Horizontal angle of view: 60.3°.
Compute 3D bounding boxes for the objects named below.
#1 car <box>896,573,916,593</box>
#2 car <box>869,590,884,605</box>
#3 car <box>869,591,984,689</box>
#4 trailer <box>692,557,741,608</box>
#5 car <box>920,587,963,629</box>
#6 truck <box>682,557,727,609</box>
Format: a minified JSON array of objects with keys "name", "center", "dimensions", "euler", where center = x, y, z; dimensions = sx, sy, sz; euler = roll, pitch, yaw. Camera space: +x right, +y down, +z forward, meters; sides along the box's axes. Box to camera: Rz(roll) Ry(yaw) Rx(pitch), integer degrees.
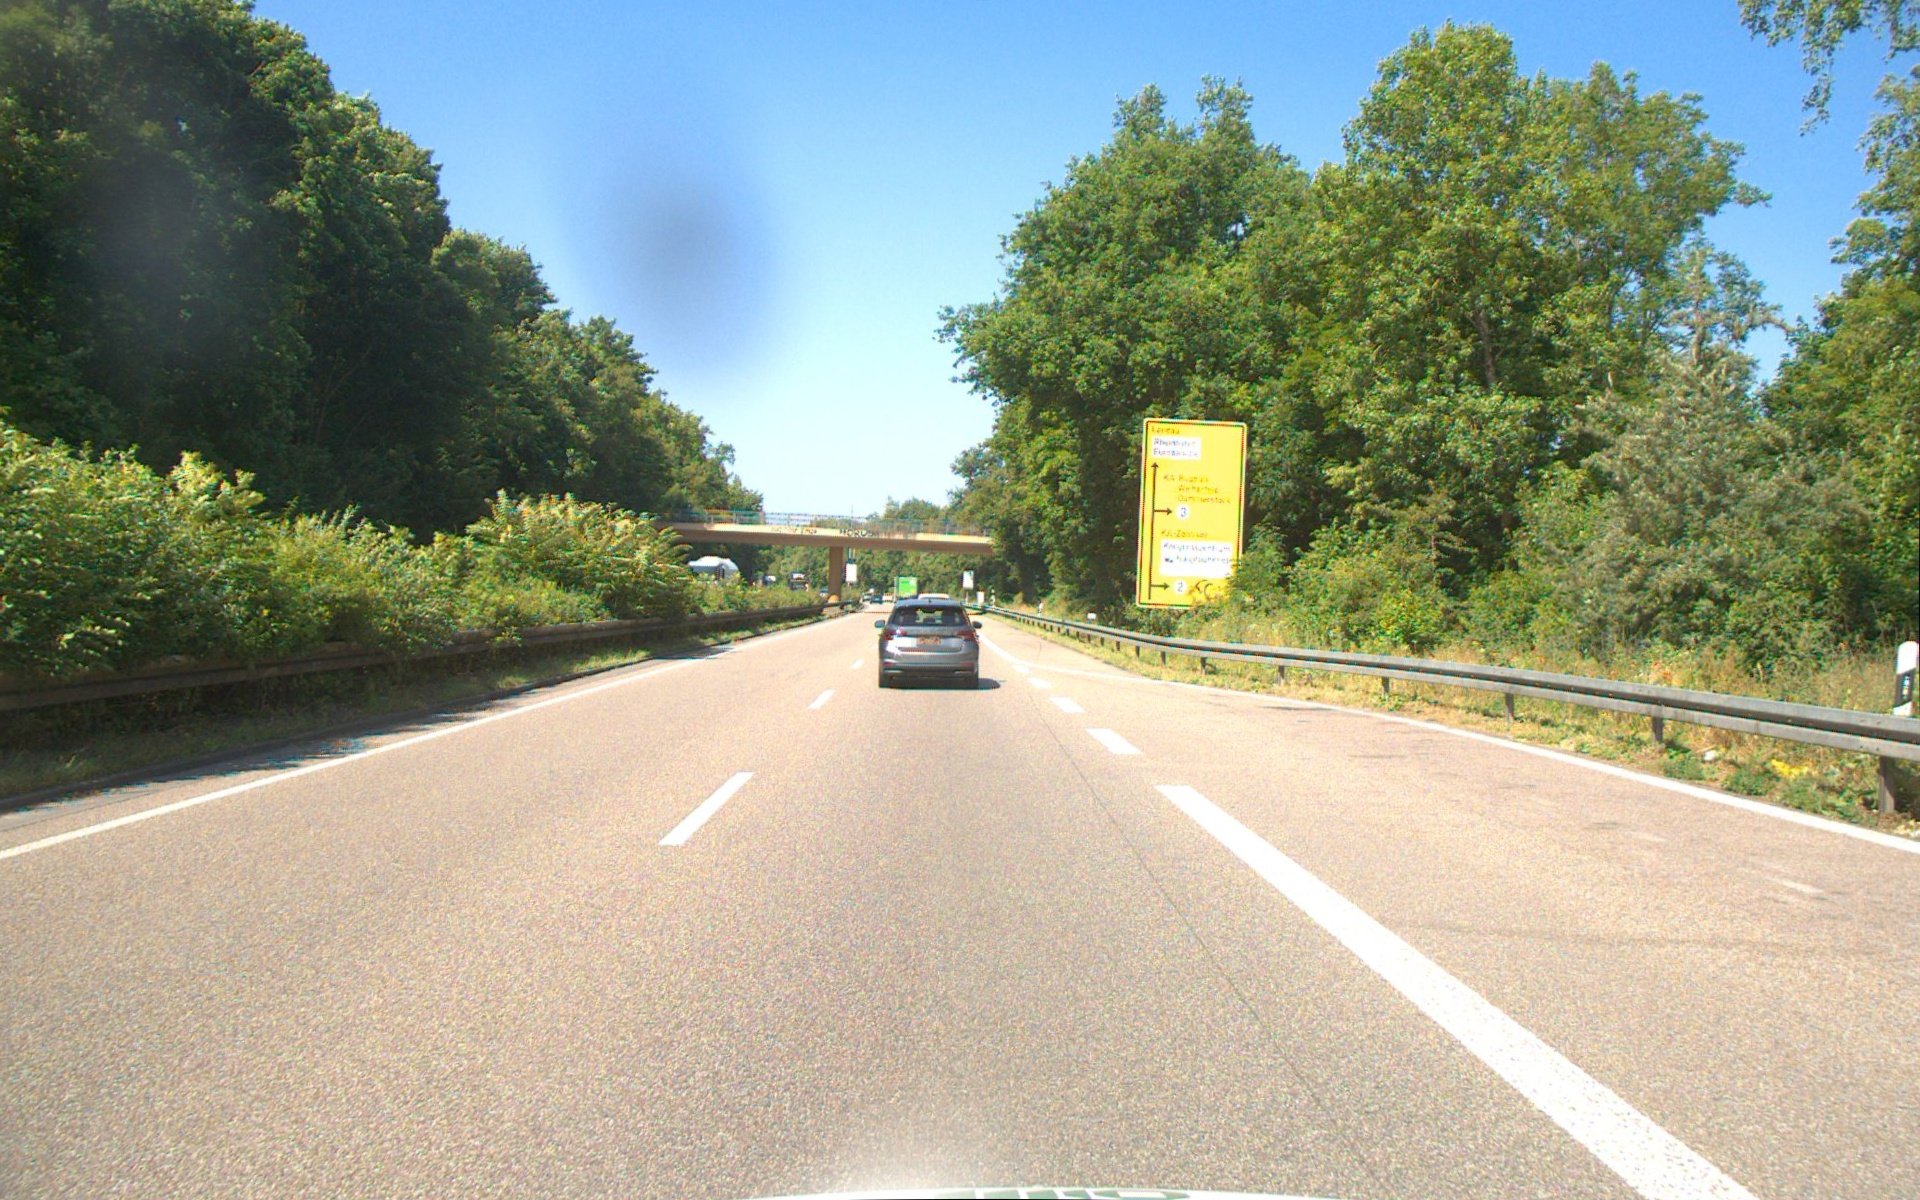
[{"name":"car","center":[-7.775,-2.446,239.123],"dimensions":[2.693,2.700,3.999],"euler":[1,0,-1]},{"name":"car","center":[-12.122,-0.343,239.831],"dimensions":[1.953,2.049,3.999],"euler":[1,0,-1]},{"name":"car","center":[-0.512,0.622,28.060],"dimensions":[1.802,1.497,3.624],"euler":[1,1,0]},{"name":"trailer","center":[-17.411,-1.186,118.936],"dimensions":[1.953,3.461,11.417],"euler":[1,0,-1]},{"name":"car","center":[-0.658,0.285,60.984],"dimensions":[1.491,1.472,3.340],"euler":[1,1,0]},{"name":"truck","center":[-17.300,-1.130,112.215],"dimensions":[2.291,3.400,4.541],"euler":[1,0,-1]}]
